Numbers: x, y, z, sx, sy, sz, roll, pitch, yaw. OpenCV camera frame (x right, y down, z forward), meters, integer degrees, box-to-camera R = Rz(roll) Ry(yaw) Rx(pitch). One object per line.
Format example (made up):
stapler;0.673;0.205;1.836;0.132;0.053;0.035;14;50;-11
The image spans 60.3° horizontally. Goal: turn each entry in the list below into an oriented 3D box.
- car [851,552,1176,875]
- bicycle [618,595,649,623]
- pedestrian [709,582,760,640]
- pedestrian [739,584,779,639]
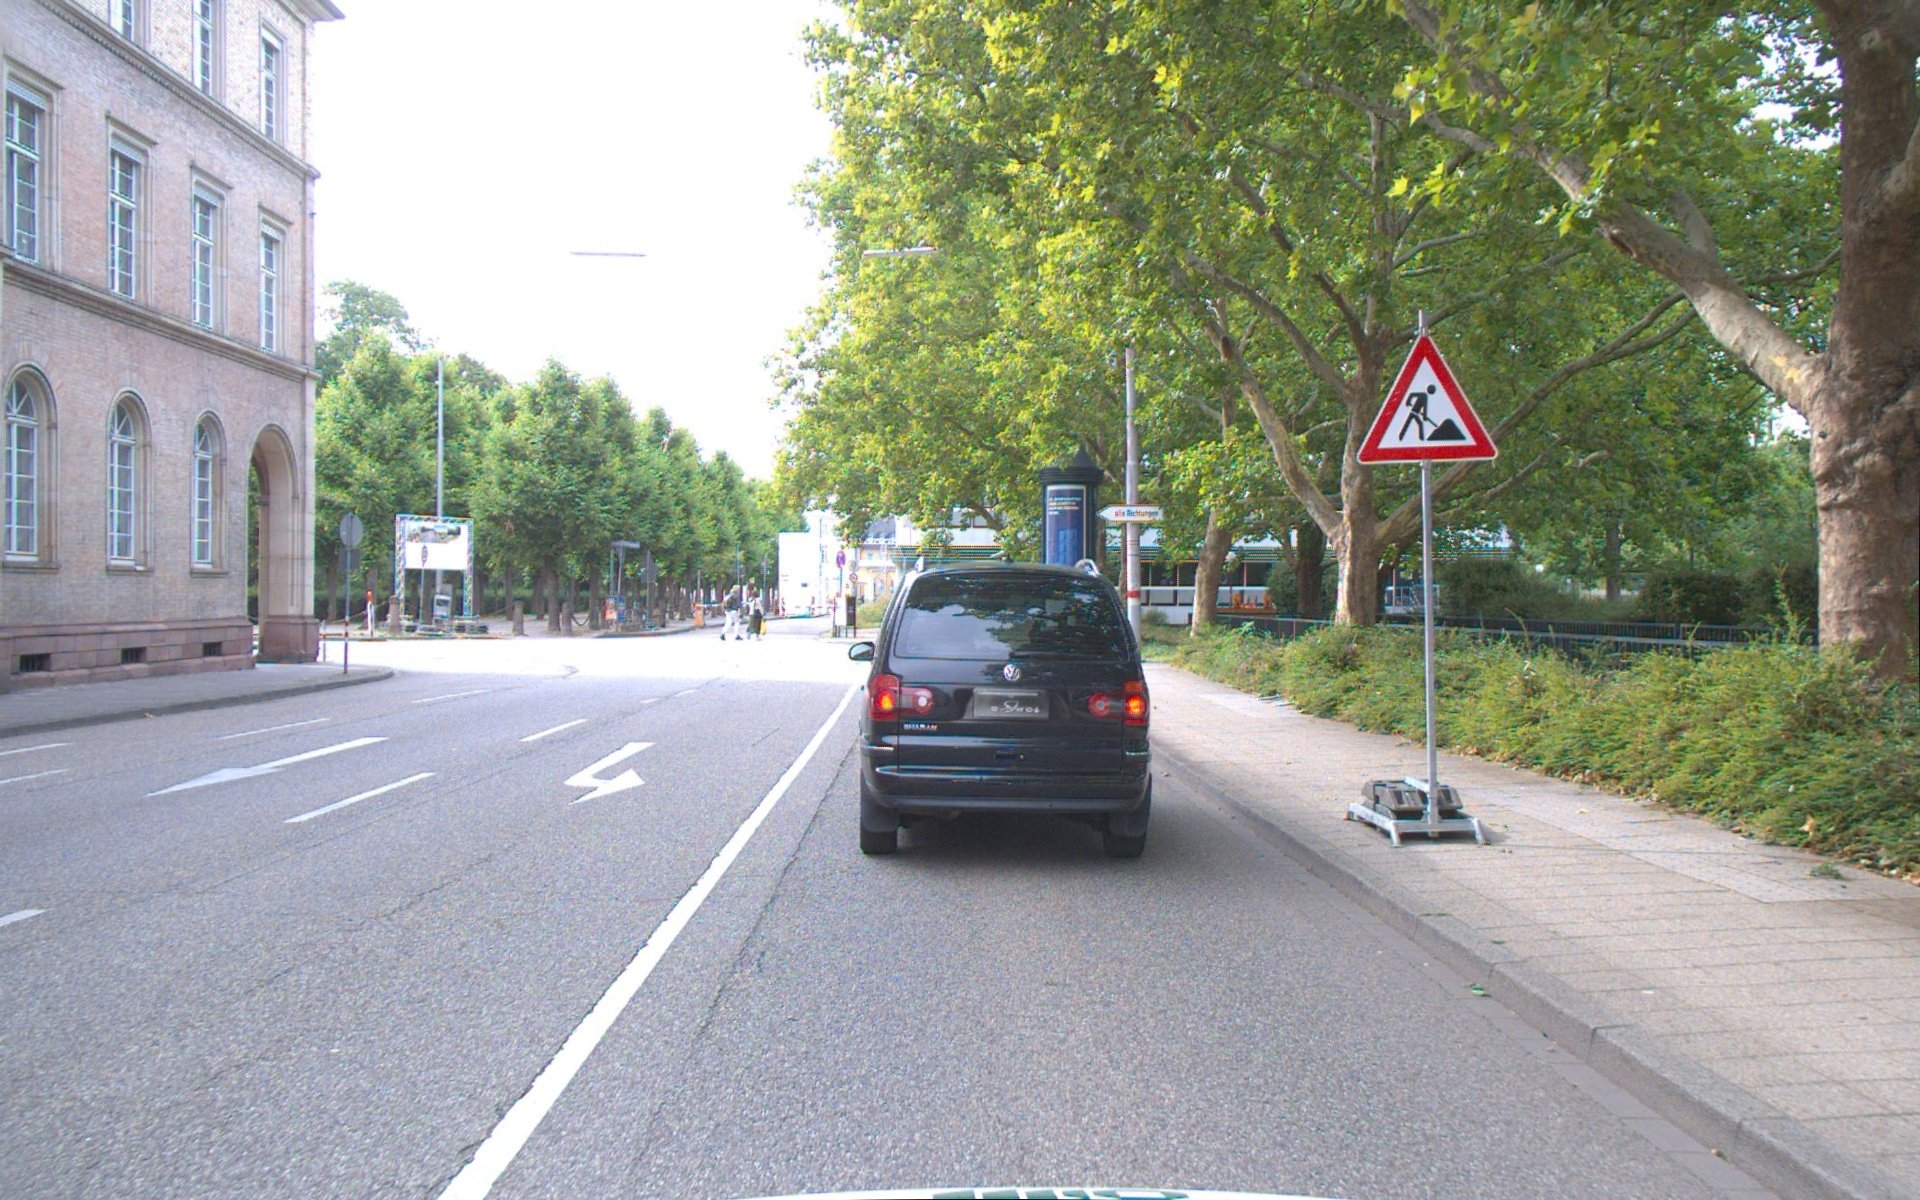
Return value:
car;0.234;0.596;11.011;1.757;1.738;4.130;0;0;-2
bicycle;-13.768;0.375;69.753;0.937;1.129;2.566;2;0;-18
pedestrian;-7.087;0.333;51.915;0.945;1.772;1.250;2;0;39
pedestrian;-6.273;0.346;51.616;0.881;1.670;0.849;2;0;37
